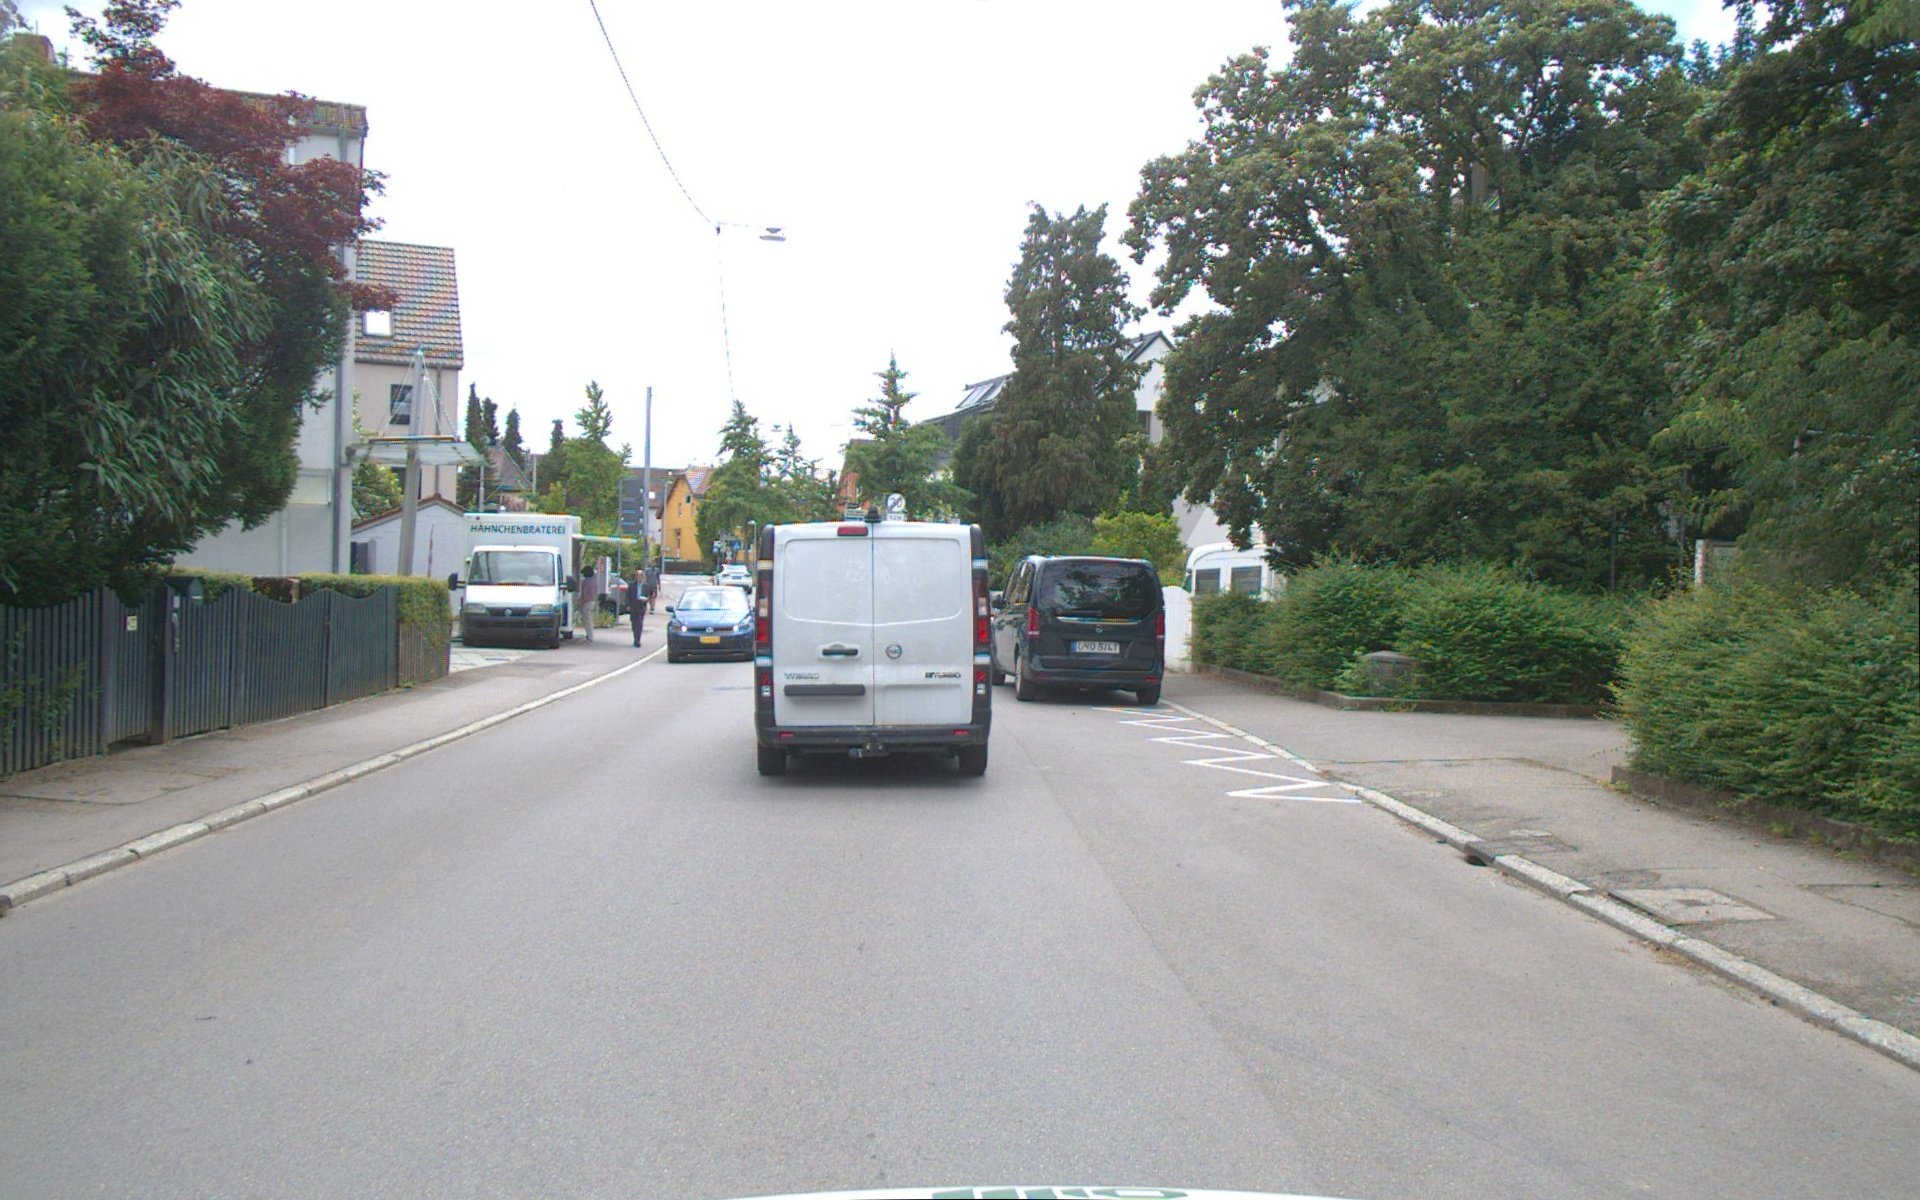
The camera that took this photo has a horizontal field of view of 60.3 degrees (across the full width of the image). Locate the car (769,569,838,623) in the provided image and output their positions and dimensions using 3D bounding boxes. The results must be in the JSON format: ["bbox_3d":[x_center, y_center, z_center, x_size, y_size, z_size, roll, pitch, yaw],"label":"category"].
[{"bbox_3d":[-5.661,-0.168,59.494,1.959,1.880,3.987,1,1,-13],"label":"car"}]

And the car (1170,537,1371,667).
[{"bbox_3d":[7.149,0.015,38.765,2.457,2.728,5.163,3,0,-17],"label":"car"}]

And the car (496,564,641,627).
[{"bbox_3d":[-12.420,-0.146,52.448,4.248,1.725,1.788,4,0,-20],"label":"car"}]

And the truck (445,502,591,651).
[{"bbox_3d":[-9.521,-0.488,36.219,2.428,2.890,6.692,2,0,-10],"label":"truck"}]

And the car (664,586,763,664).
[{"bbox_3d":[-4.907,0.462,33.293,1.660,1.457,3.924,1,0,-4],"label":"car"}]

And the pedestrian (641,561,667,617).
[{"bbox_3d":[-11.219,-0.405,60.602,0.719,1.979,1.216,3,0,-5],"label":"pedestrian"}]

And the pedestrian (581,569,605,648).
[{"bbox_3d":[-8.162,0.182,36.772,0.394,1.724,0.596,3,0,-10],"label":"pedestrian"}]

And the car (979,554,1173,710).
[{"bbox_3d":[1.471,0.389,23.095,1.872,1.880,5.152,2,0,-5],"label":"car"}]

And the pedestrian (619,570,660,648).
[{"bbox_3d":[-7.319,0.196,37.789,0.709,1.716,1.108,3,0,-5],"label":"pedestrian"}]

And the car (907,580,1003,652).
[{"bbox_3d":[-0.182,0.342,39.191,1.726,1.610,4.011,0,0,-8],"label":"car"}]

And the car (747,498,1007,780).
[{"bbox_3d":[-0.828,0.285,14.266,1.879,2.037,4.432,1,0,-6],"label":"car"}]

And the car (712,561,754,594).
[{"bbox_3d":[-12.896,-1.296,93.810,1.959,1.813,3.987,0,1,-13],"label":"car"}]

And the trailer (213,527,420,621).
[{"bbox_3d":[-16.927,-0.695,43.716,4.776,2.116,1.700,4,1,-12],"label":"trailer"}]
